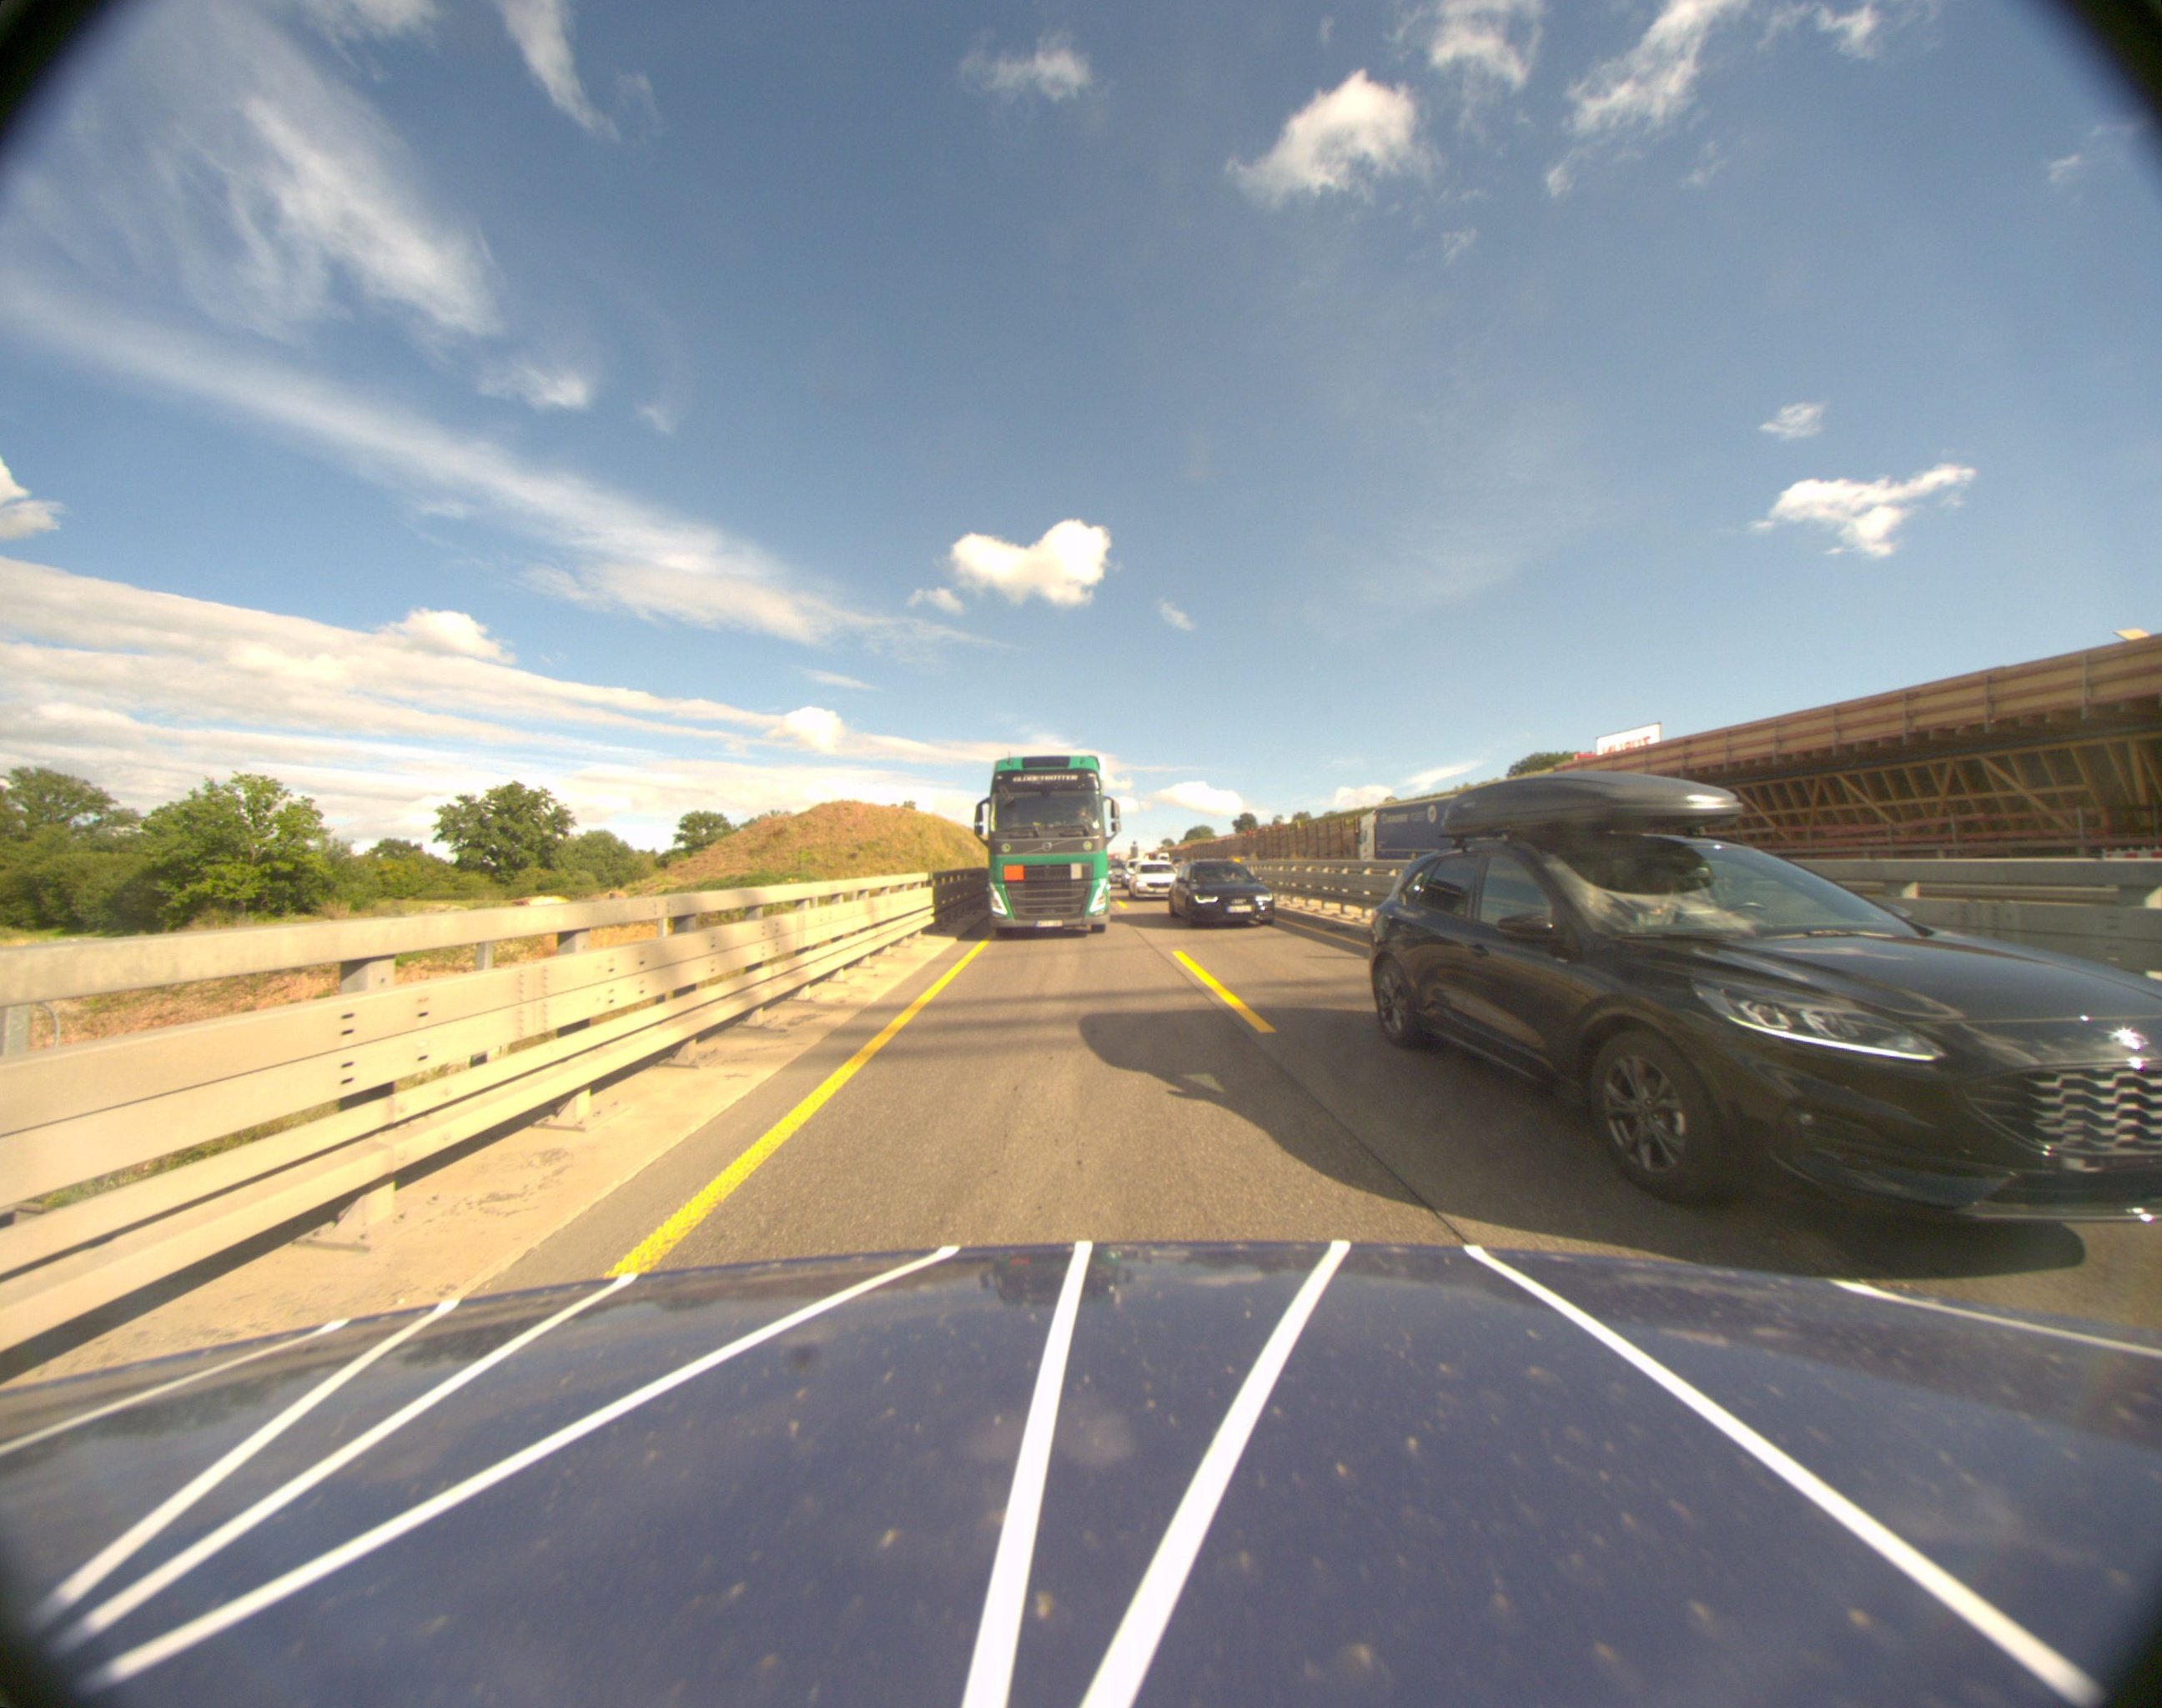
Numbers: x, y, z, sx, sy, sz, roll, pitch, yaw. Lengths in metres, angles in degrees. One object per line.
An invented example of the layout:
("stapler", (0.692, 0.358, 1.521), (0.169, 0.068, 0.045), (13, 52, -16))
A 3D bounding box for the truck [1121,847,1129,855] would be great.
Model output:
("truck", (14.755, -0.918, 255.375), (2.383, 2.503, 6.552), (-2, 1, -1))

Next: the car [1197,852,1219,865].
("car", (15.938, 0.486, 95.577), (1.949, 1.422, 4.407), (-4, 1, -1))

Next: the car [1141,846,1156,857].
("car", (15.490, -0.579, 174.998), (2.887, 2.329, 6.404), (-2, 1, -1))

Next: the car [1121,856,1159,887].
("car", (3.131, 0.896, 40.989), (1.659, 1.510, 3.999), (-2, 1, -1))

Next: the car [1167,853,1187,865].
("car", (12.840, 0.639, 101.876), (1.949, 1.422, 4.407), (-4, 1, -1))

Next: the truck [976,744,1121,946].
("truck", (-0.670, -0.231, 19.857), (2.664, 3.825, 10.315), (-2, 1, -1))

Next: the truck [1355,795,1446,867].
("truck", (17.324, -1.236, 41.569), (2.849, 3.608, 4.809), (-2, 1, 0))

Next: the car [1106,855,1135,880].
("car", (2.572, 0.869, 50.195), (1.659, 1.510, 3.999), (-2, 1, -1))

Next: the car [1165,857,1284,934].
("car", (3.226, 0.876, 17.995), (1.949, 1.422, 4.504), (-2, 1, 0))

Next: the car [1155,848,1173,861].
("car", (15.806, 0.092, 145.790), (2.572, 2.329, 6.404), (-2, 1, -1))

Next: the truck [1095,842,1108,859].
("truck", (4.692, -0.795, 176.529), (2.664, 3.825, 10.315), (-2, 1, -1))

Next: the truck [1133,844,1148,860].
("truck", (15.477, -0.624, 197.831), (3.178, 3.843, 8.232), (-2, 1, -1))

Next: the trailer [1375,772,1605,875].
("trailer", (17.445, -1.185, 34.286), (2.870, 3.645, 13.526), (-2, 1, -1))

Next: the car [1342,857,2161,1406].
("car", (3.183, 0.806, 4.383), (1.804, 1.533, 4.384), (-1, 0, 0))

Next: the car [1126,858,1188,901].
("car", (2.866, 0.928, 29.492), (1.949, 1.422, 4.408), (-2, 0, 0))
